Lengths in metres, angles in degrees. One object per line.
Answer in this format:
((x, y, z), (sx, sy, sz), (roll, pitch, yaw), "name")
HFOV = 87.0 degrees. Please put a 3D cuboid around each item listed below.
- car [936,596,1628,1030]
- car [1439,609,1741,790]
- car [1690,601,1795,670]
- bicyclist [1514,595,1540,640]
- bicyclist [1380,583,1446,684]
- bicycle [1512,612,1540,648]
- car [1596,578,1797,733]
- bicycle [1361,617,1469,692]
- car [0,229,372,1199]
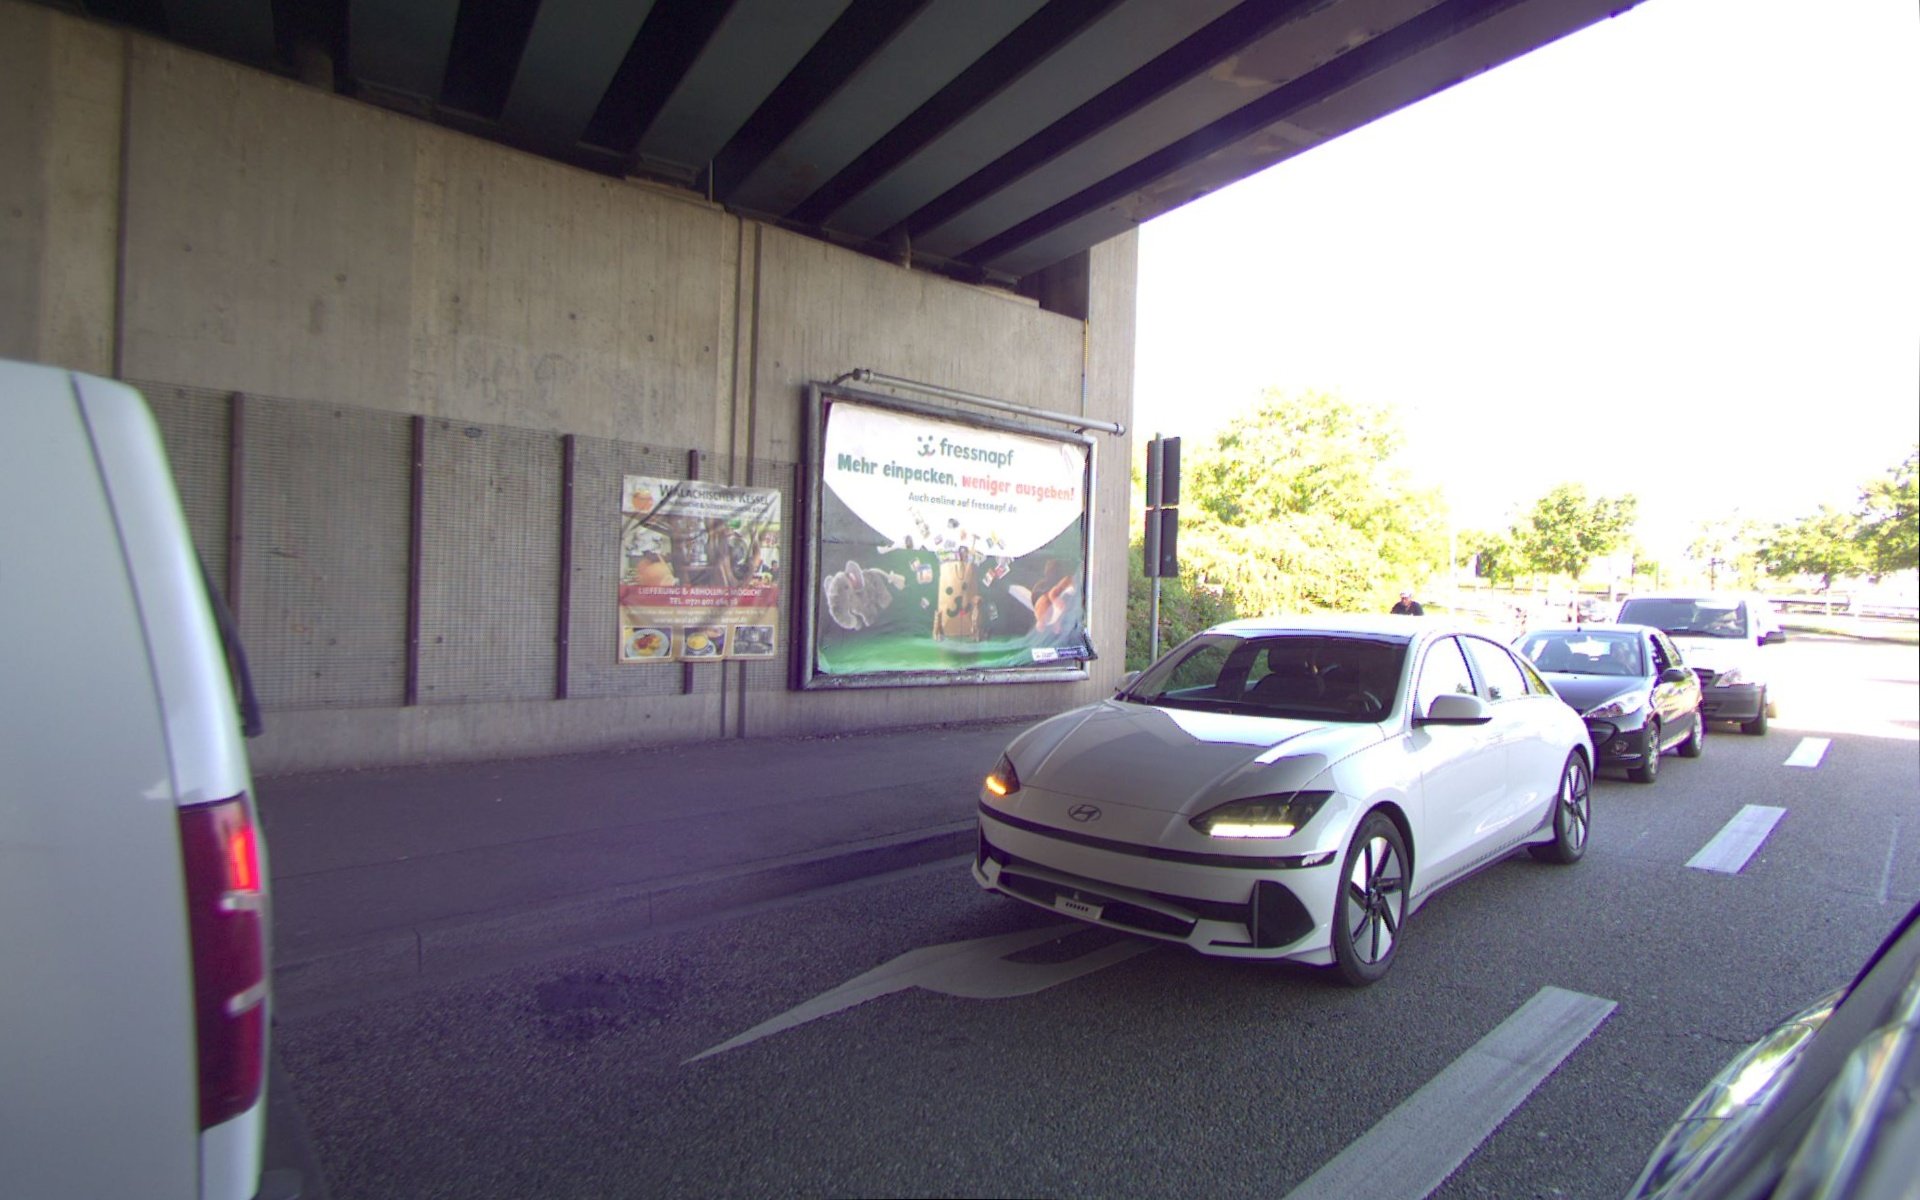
((2.137, 0.734, 5.688), (4.586, 1.474, 1.747), (0, 0, -44), "car")
((6.494, 0.840, 10.291), (3.654, 1.474, 1.747), (0, 0, -43), "car")
((20.208, 0.829, 26.099), (1.990, 1.570, 4.358), (1, 1, 39), "car")
((20.154, 0.615, 35.983), (0.648, 1.552, 0.839), (4, 1, 25), "bicyclist")
((7.775, 0.550, 17.375), (0.871, 1.676, 0.748), (0, -1, -41), "bicyclist")
((20.117, 1.052, 35.985), (0.646, 1.181, 1.763), (4, 2, 24), "bicycle")
((10.766, 0.698, 14.639), (1.896, 1.859, 4.761), (0, -1, 42), "car")
((7.883, 0.905, 17.470), (2.427, 1.160, 0.766), (0, 0, -42), "bicycle")
((-2.951, 0.489, 0.574), (4.226, 1.857, 1.816), (1, -1, -42), "car")
